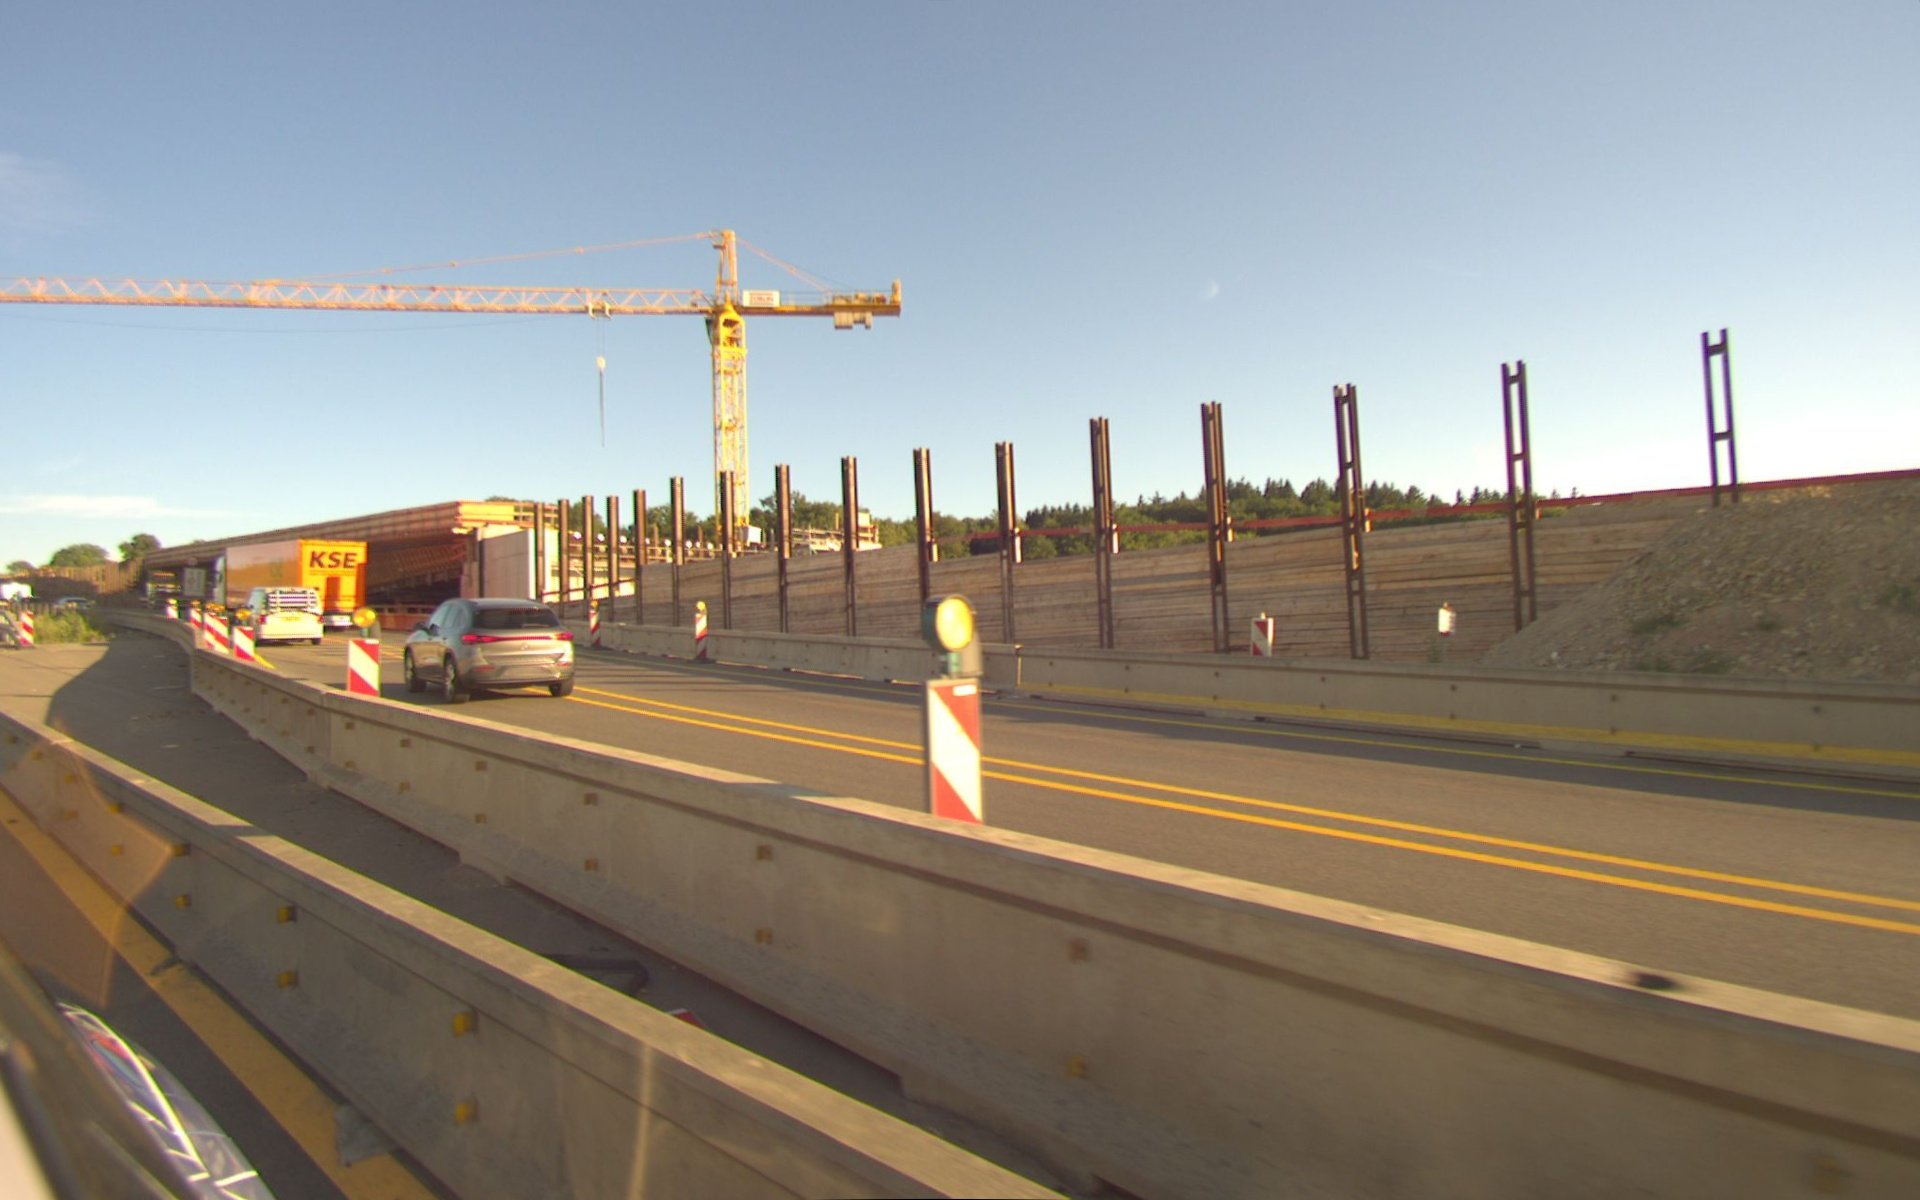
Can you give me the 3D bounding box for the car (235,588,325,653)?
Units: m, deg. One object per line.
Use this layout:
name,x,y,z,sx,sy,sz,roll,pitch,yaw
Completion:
car,-23.546,0.653,34.937,1.969,2.029,5.265,-1,1,-40

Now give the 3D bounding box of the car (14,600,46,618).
car,-78.877,0.726,85.810,4.000,1.401,1.643,0,4,43

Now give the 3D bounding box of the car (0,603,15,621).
car,-92.076,1.151,96.988,4.110,1.613,1.712,0,0,40

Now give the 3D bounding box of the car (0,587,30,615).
car,-103.145,0.079,109.920,6.155,2.989,2.305,0,0,39

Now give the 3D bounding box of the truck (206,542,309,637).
truck,-36.106,-0.525,51.863,8.332,4.505,2.556,0,1,43

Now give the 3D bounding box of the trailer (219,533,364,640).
trailer,-32.115,-0.562,48.211,14.138,4.505,2.555,0,1,43

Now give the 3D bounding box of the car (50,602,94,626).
car,-64.102,0.977,73.029,4.658,1.613,1.712,0,0,41

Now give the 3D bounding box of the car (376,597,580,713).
car,-8.187,0.814,16.940,1.767,1.632,4.880,-1,0,-42
